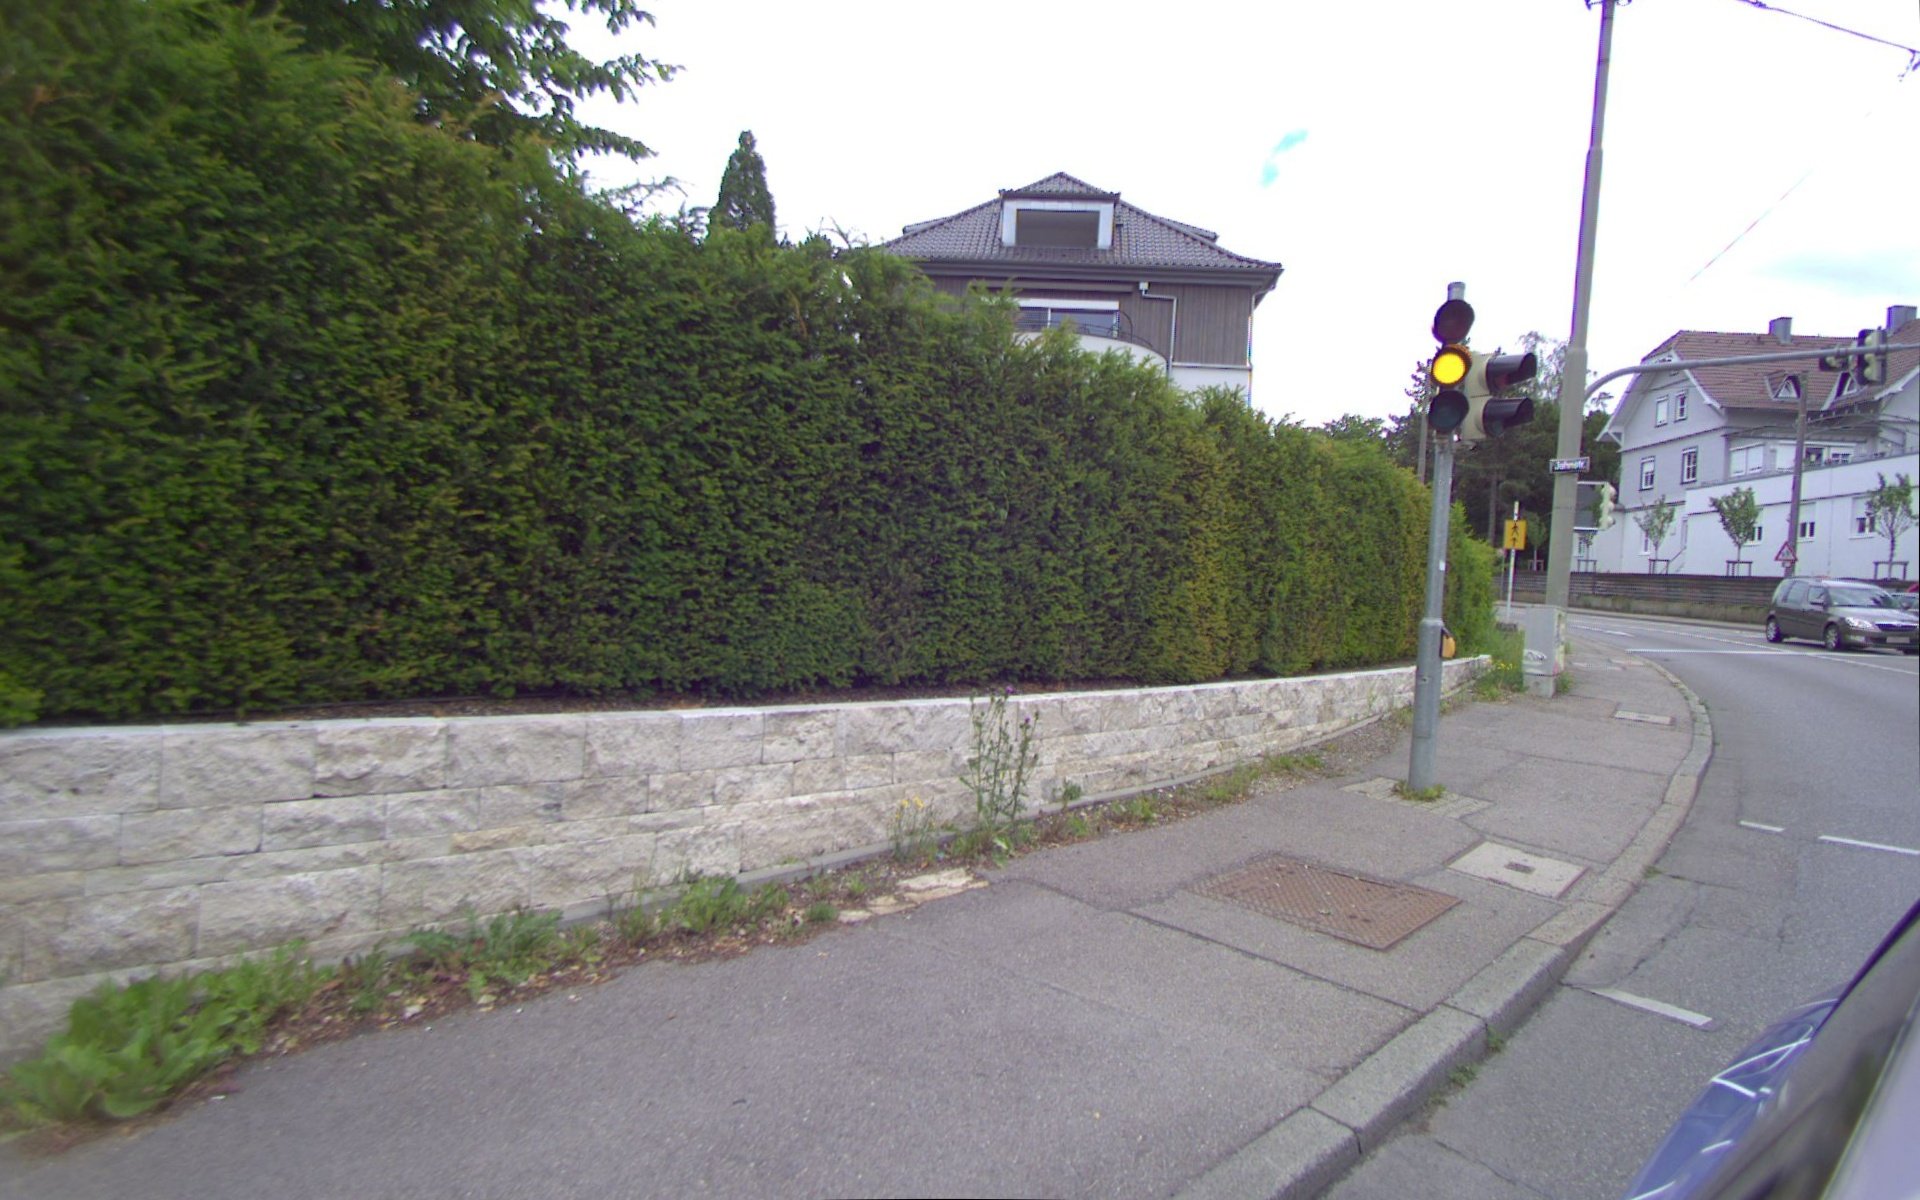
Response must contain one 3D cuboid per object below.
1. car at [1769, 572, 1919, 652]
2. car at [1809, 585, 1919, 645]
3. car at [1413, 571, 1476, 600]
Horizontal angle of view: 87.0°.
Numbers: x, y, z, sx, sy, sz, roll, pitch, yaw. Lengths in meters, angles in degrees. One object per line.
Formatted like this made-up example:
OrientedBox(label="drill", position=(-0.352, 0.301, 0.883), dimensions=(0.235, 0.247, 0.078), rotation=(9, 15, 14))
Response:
OrientedBox(label="car", position=(20.234, 0.209, 22.850), dimensions=(1.596, 1.599, 3.982), rotation=(2, 2, 16))
OrientedBox(label="car", position=(25.600, 0.404, 27.070), dimensions=(1.966, 1.440, 5.048), rotation=(2, 2, 8))
OrientedBox(label="car", position=(27.807, -0.870, 58.252), dimensions=(1.776, 1.372, 3.998), rotation=(4, 3, 4))
